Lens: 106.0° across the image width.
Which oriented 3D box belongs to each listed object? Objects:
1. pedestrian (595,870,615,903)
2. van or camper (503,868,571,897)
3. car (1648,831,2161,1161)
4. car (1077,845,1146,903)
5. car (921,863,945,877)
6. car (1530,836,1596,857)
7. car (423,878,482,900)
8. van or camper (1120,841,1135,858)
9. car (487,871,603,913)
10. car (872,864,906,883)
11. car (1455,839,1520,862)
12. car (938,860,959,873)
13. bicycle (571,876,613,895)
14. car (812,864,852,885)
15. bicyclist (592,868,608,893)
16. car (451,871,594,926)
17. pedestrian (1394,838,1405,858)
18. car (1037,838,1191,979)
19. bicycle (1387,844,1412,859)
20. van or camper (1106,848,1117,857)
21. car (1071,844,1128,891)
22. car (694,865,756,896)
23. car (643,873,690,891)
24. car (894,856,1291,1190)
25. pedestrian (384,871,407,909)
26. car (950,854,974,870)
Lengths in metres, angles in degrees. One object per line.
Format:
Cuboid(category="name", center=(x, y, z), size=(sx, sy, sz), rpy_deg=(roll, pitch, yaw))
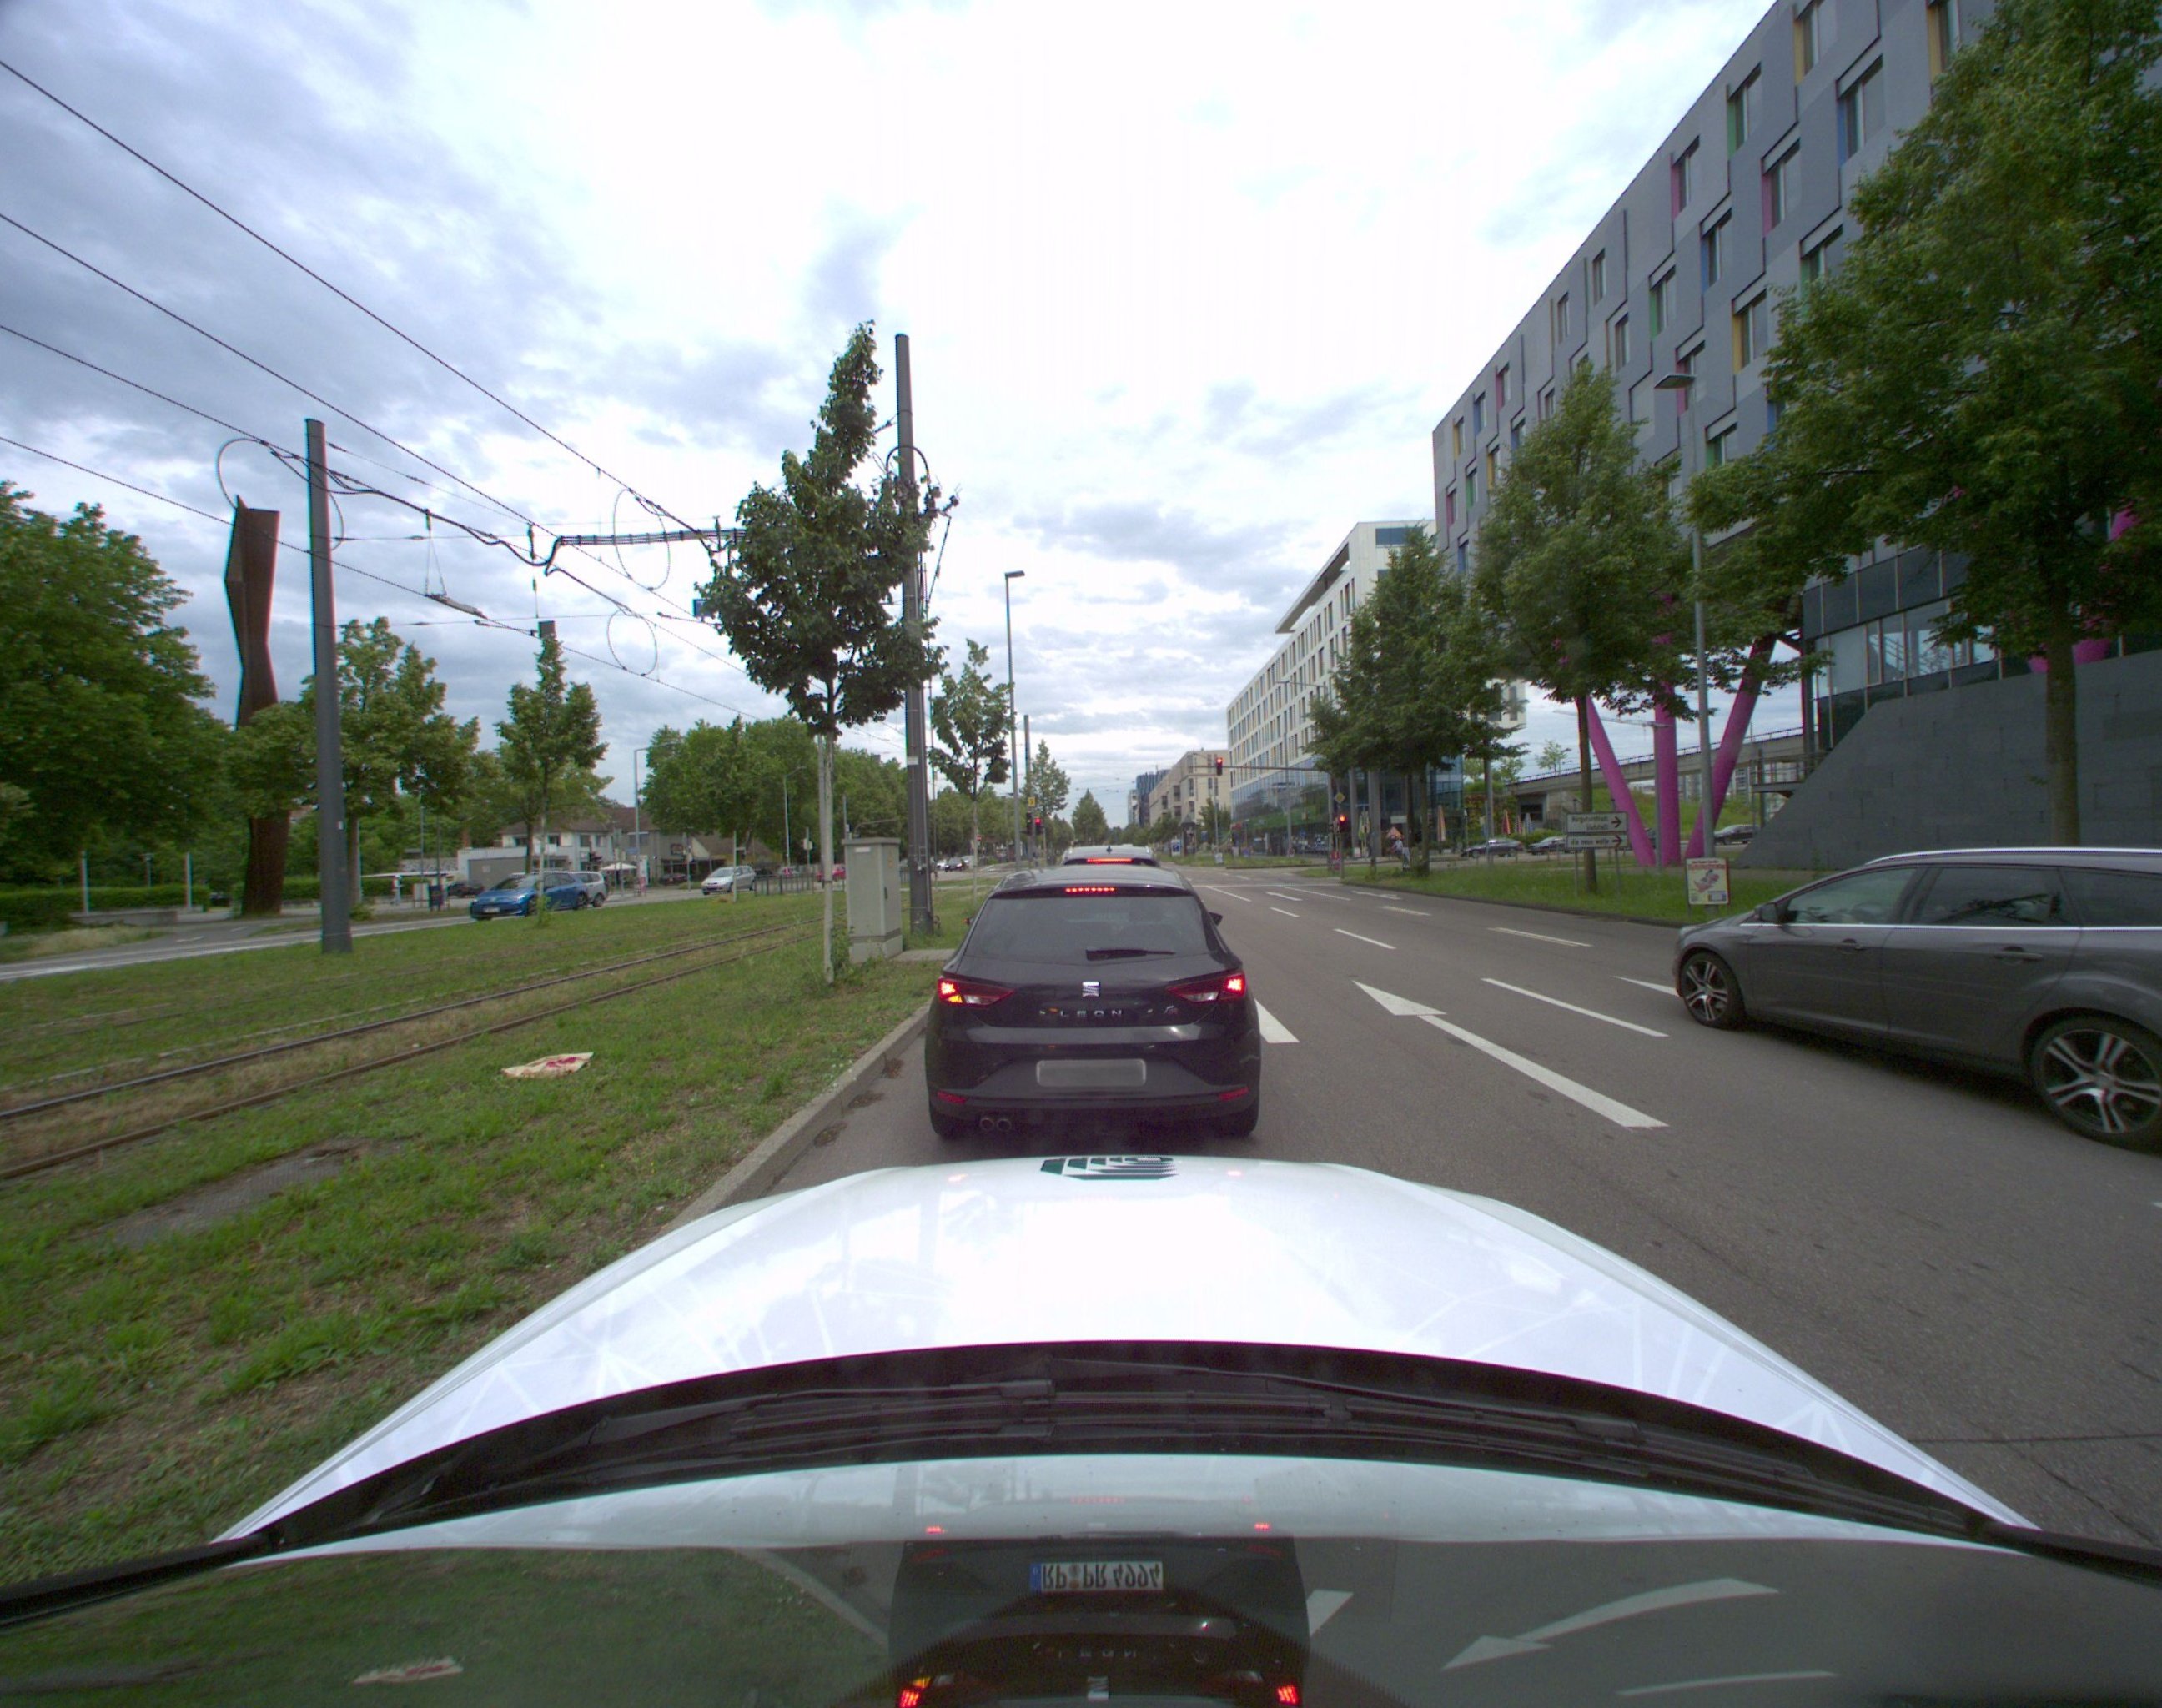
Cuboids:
Cuboid(category="pedestrian", center=(-27.692, 1.880, 47.352), size=(0.779, 1.832, 0.771), rpy_deg=(-2, 0, -16))
Cuboid(category="van or camper", center=(-41.630, 2.182, 62.321), size=(5.212, 2.013, 2.481), rpy_deg=(-2, 0, 34))
Cuboid(category="car", center=(5.935, 0.625, 5.208), size=(1.741, 1.499, 4.271), rpy_deg=(-2, 1, 2))
Cuboid(category="car", center=(1.065, 0.577, 26.182), size=(1.984, 1.681, 4.005), rpy_deg=(-1, 0, 5))
Cuboid(category="car", center=(-16.285, 1.759, 89.532), size=(1.795, 1.377, 4.058), rpy_deg=(-2, 0, 1))
Cuboid(category="car", center=(37.850, -0.564, 64.029), size=(4.063, 1.455, 1.759), rpy_deg=(-2, 0, 3))
Cuboid(category="car", center=(-59.543, 3.279, 77.188), size=(3.969, 1.849, 2.002), rpy_deg=(-2, 0, 4))
Cuboid(category="van or camper", center=(7.061, -0.738, 124.029), size=(2.101, 2.355, 4.927), rpy_deg=(-1, 2, 2))
Cuboid(category="car", center=(-22.147, 1.510, 33.897), size=(1.790, 1.571, 4.578), rpy_deg=(0, -1, 0))
Cuboid(category="car", center=(-16.893, 1.692, 71.875), size=(1.658, 1.426, 4.746), rpy_deg=(-4, 0, 1))
Cuboid(category="car", center=(31.835, -0.264, 63.852), size=(4.233, 1.615, 1.759), rpy_deg=(-2, 0, 3))
Cuboid(category="car", center=(-17.757, 1.717, 109.327), size=(1.804, 1.588, 5.079), rpy_deg=(-2, 0, 2))
Cuboid(category="bicycle", center=(-35.473, 2.295, 59.126), size=(2.520, 1.202, 0.734), rpy_deg=(-2, 0, -25))
Cuboid(category="car", center=(-20.983, 1.743, 68.807), size=(1.789, 1.570, 4.331), rpy_deg=(-2, 0, 3))
Cuboid(category="bicyclist", center=(-35.053, 1.913, 59.327), size=(0.854, 1.721, 0.715), rpy_deg=(-2, 0, -25))
Cuboid(category="car", center=(-19.172, 1.454, 28.267), size=(1.961, 1.588, 4.681), rpy_deg=(-1, 0, -5))
Cuboid(category="pedestrian", center=(25.734, -0.466, 65.822), size=(0.612, 1.604, 0.619), rpy_deg=(-2, 0, 4))
Cuboid(category="car", center=(0.465, 0.646, 11.804), size=(1.796, 1.624, 4.002), rpy_deg=(-2, 0, 2))
Cuboid(category="bicycle", center=(25.716, -0.202, 65.821), size=(1.784, 1.085, 0.618), rpy_deg=(-2, 0, 3))
Cuboid(category="van or camper", center=(5.748, -0.299, 151.035), size=(1.986, 1.615, 4.792), rpy_deg=(-1, 1, 2))
Cuboid(category="car", center=(0.766, 0.470, 31.461), size=(1.985, 1.681, 4.005), rpy_deg=(-1, 0, 4))
Cuboid(category="car", center=(-21.674, 1.559, 49.784), size=(1.715, 1.643, 4.674), rpy_deg=(-2, 0, 0))
Cuboid(category="car", center=(-47.148, 3.151, 92.705), size=(4.258, 1.816, 2.111), rpy_deg=(-2, 0, 6))
Cuboid(category="car", center=(0.088, 0.755, 5.599), size=(1.737, 1.417, 4.001), rpy_deg=(-1, 0, 1))
Cuboid(category="pedestrian", center=(-38.300, 1.997, 45.502), size=(0.910, 2.013, 0.942), rpy_deg=(-2, 0, -40))
Cuboid(category="car", center=(-13.949, 0.959, 95.612), size=(1.987, 1.750, 4.201), rpy_deg=(-2, 0, 1))
